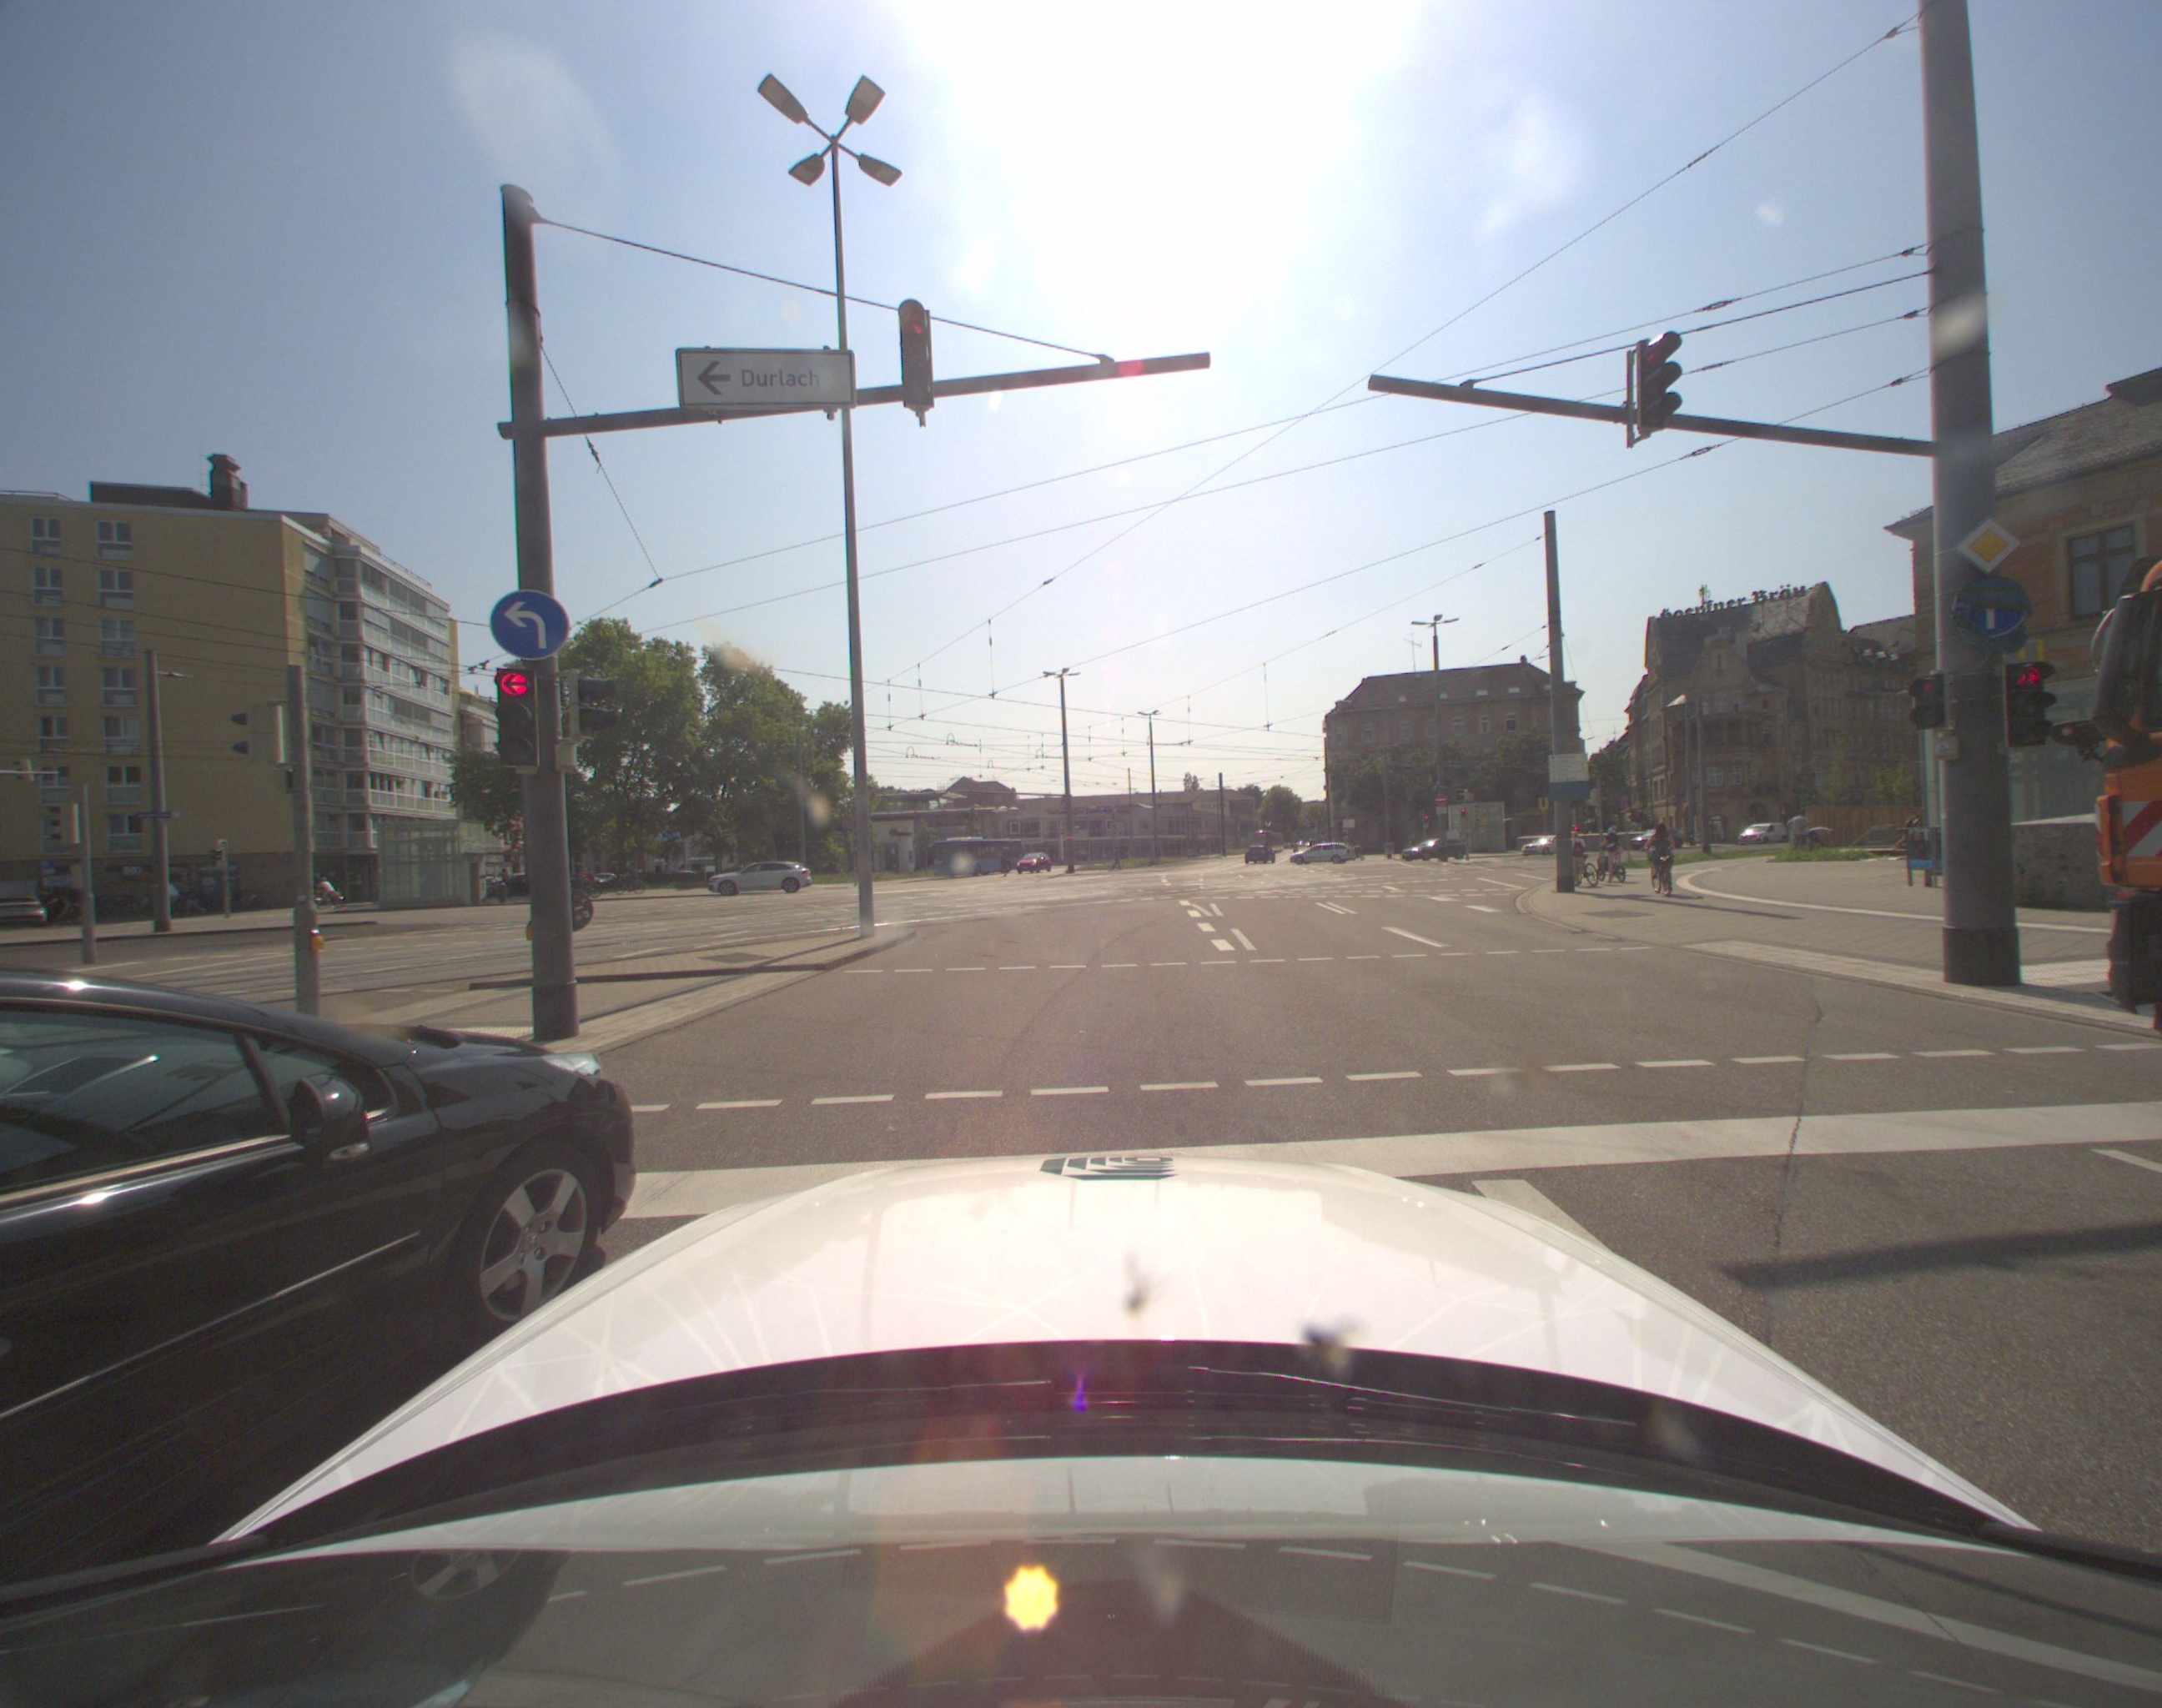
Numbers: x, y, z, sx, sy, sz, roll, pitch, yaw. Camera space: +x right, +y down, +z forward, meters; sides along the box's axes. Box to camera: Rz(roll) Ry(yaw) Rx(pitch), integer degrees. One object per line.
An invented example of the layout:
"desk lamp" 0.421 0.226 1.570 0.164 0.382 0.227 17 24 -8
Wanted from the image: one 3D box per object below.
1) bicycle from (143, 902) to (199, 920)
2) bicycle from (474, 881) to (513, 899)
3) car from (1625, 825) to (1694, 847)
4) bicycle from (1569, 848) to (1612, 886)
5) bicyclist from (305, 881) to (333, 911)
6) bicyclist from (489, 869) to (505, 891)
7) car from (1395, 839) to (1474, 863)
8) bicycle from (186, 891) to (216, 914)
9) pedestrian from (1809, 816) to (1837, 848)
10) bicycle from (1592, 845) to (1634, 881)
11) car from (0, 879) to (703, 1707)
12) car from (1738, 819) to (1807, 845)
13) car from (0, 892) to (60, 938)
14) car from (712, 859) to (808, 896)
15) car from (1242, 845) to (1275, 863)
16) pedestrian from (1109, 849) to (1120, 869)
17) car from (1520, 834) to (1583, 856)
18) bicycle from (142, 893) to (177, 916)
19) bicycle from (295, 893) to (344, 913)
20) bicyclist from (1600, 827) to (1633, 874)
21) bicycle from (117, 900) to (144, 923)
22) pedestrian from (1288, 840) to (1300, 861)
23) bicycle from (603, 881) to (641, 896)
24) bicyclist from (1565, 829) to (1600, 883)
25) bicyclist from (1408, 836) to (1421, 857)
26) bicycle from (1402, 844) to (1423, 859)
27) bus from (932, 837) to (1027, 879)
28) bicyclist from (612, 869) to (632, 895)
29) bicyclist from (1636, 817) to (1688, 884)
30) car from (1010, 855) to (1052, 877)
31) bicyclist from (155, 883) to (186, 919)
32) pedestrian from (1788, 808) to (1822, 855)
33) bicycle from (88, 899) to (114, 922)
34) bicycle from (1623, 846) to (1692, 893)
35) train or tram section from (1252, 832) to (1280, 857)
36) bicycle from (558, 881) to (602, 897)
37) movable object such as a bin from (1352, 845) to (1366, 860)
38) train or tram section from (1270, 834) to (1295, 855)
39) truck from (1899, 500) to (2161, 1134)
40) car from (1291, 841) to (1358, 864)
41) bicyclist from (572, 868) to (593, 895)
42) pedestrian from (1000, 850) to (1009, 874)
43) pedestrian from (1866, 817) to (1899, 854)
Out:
"bicycle" -47.263 2.954 42.315 2.049 0.802 0.478 -2 0 -11
"bicycle" -34.526 2.089 47.846 1.814 0.942 0.414 -2 0 -11
"car" 44.993 -1.431 63.354 4.624 1.505 1.987 -2 0 -19
"bicycle" 14.606 0.354 23.392 0.532 1.055 1.660 -2 0 14
"bicyclist" -41.152 2.259 43.996 0.914 1.508 0.554 -2 0 -25
"bicyclist" -34.297 1.520 47.823 0.544 1.293 0.557 -2 0 -9
"car" 23.415 -0.184 53.935 4.766 1.415 1.765 -2 0 -18
"bicycle" -48.565 2.694 44.929 3.220 1.204 0.699 -3 0 36
"pedestrian" 29.115 -0.875 31.960 0.658 1.214 0.531 -2 0 30
"bicycle" 16.320 0.263 25.011 0.532 1.055 1.660 -2 0 14
"car" -2.670 0.815 1.618 1.757 1.388 3.787 -1 0 6
"car" 58.419 -1.839 68.826 4.612 2.013 1.993 -2 0 -11
"car" -48.263 2.735 37.144 3.949 1.925 1.815 -3 0 42
"car" -16.246 1.171 41.458 4.333 1.618 1.744 -2 0 -18
"car" 14.377 -0.016 65.758 1.576 1.394 4.024 -3 0 27
"pedestrian" 2.429 0.365 59.176 0.678 1.443 0.364 -2 0 -15
"car" 33.813 -0.660 58.525 4.207 1.415 1.762 -2 0 -24
"bicycle" -50.428 2.764 44.550 3.220 1.204 0.916 -3 0 36
"bicycle" -41.114 2.618 43.999 1.823 0.942 0.563 -2 0 -26
"bicyclist" 16.203 -0.109 24.650 0.526 1.393 0.897 -2 0 14
"bicycle" -51.542 3.102 44.145 3.220 1.204 0.699 -3 0 36
"pedestrian" 16.926 -0.287 64.728 0.699 1.603 0.572 -2 0 -6
"bicycle" -27.238 2.041 48.334 1.860 0.802 0.604 -2 0 -17
"bicyclist" 14.618 0.061 23.758 0.623 1.517 0.715 -2 0 14
"bicyclist" 24.443 -0.567 59.714 0.614 1.528 0.517 -2 0 -22
"bicycle" 24.385 -0.206 59.889 0.470 1.055 1.643 -2 0 -18
"bus" -8.077 0.223 67.015 2.541 3.082 12.082 -3 0 19
"bicyclist" -27.265 1.674 48.333 0.873 1.475 0.543 -2 0 -16
"bicyclist" 13.679 -0.085 19.184 0.730 1.517 0.665 -2 0 6
"car" -3.847 0.948 63.655 1.735 1.552 4.020 -3 0 20
"bicyclist" -47.257 2.443 42.282 0.924 1.808 0.496 -2 0 -11
"pedestrian" 27.214 -0.843 30.621 0.549 1.724 0.812 -2 0 -39
"bicycle" -52.961 3.042 43.987 2.754 1.204 0.699 -3 0 36
"bicycle" 13.709 0.351 19.412 0.489 1.055 1.826 -2 0 7
"train or tram section" 28.431 -1.481 124.833 2.566 3.516 10.955 -2 0 21
"bicycle" -28.254 1.980 45.987 2.049 0.802 0.478 -2 0 -11
"movable object such as a bin" 21.365 -0.096 62.583 0.812 1.077 0.510 -2 0 -9
"train or tram section" 36.049 -1.697 145.140 2.566 3.516 13.040 -2 0 21
"truck" 6.438 -0.182 1.915 2.481 3.134 6.869 0 0 4
"car" 17.084 -0.104 57.161 4.135 1.415 1.787 -2 0 30
"bicyclist" -28.155 1.550 45.999 0.871 1.483 0.495 -2 0 -12
"pedestrian" -5.412 0.556 57.626 0.554 1.684 0.451 -2 0 -17
"pedestrian" 31.854 -0.738 32.369 0.768 1.399 0.687 -2 0 -23
